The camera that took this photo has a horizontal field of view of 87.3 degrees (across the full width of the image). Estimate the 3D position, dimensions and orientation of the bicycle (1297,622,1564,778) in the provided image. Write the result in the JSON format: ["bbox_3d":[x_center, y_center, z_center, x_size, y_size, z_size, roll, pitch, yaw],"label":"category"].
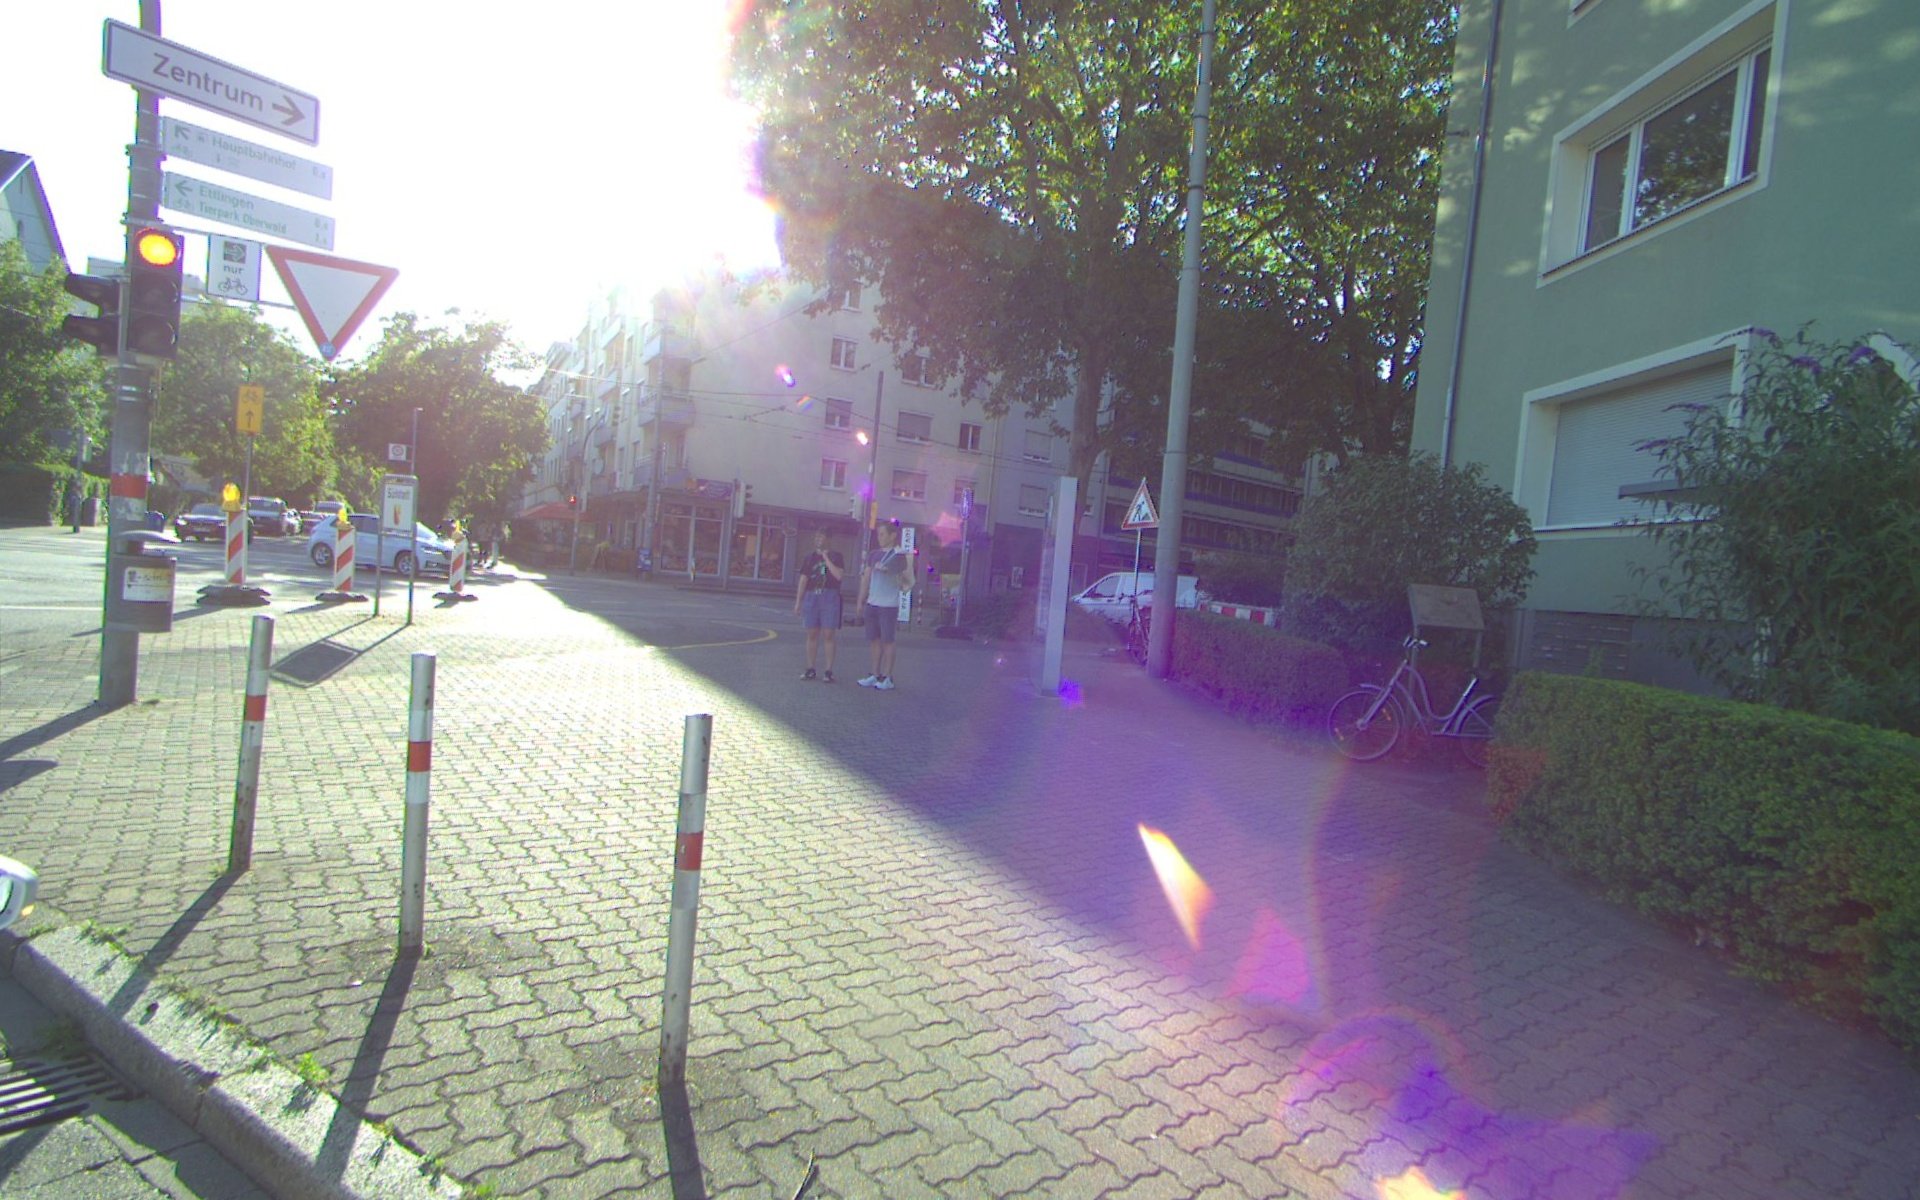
[{"bbox_3d":[3.954,0.828,8.551,1.897,1.071,0.521,6,2,5],"label":"bicycle"}]

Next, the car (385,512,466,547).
[{"bbox_3d":[-39.353,-5.159,74.119,5.050,1.948,2.344,5,0,-32],"label":"car"}]

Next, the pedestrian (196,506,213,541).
[{"bbox_3d":[-39.148,-3.954,52.115,0.575,1.754,0.602,4,3,-34],"label":"pedestrian"}]

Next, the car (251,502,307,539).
[{"bbox_3d":[-40.163,-4.686,59.460,2.336,1.818,5.265,4,2,-31],"label":"car"}]

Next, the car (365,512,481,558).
[{"bbox_3d":[-30.229,-3.587,56.677,5.576,1.948,2.343,5,0,-32],"label":"car"}]

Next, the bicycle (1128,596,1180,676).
[{"bbox_3d":[2.865,0.500,15.005,0.511,1.071,1.933,6,2,7],"label":"bicycle"}]

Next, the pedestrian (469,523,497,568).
[{"bbox_3d":[-19.443,-2.213,40.993,0.706,1.774,0.793,5,2,-7],"label":"pedestrian"}]

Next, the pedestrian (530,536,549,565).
[{"bbox_3d":[-21.461,-2.529,51.361,0.803,1.381,0.908,4,2,-23],"label":"pedestrian"}]

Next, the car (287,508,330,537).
[{"bbox_3d":[-47.039,-5.587,72.770,2.336,1.818,5.265,4,2,-31],"label":"car"}]

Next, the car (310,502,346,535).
[{"bbox_3d":[-54.391,-6.990,86.635,2.336,2.548,5.265,4,2,-31],"label":"car"}]

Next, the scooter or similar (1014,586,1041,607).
[{"bbox_3d":[3.495,-0.191,52.158,1.421,0.966,0.462,4,3,-44],"label":"scooter or similar"}]

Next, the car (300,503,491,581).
[{"bbox_3d":[-14.175,-1.448,25.314,3.924,1.506,1.896,6,2,15],"label":"car"}]

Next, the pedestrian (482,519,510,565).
[{"bbox_3d":[-18.527,-2.299,40.155,0.681,1.774,0.793,5,2,-7],"label":"pedestrian"}]

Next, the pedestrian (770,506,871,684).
[{"bbox_3d":[-1.475,-0.052,10.726,0.680,1.774,0.794,6,2,13],"label":"pedestrian"}]

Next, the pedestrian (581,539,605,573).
[{"bbox_3d":[-17.871,-2.145,49.010,0.806,1.565,0.905,3,3,-35],"label":"pedestrian"}]

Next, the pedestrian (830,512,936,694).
[{"bbox_3d":[-0.792,0.031,10.524,0.680,1.774,0.794,6,2,21],"label":"pedestrian"}]

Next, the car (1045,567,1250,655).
[{"bbox_3d":[4.711,0.227,26.134,1.913,1.849,5.185,5,0,-37],"label":"car"}]

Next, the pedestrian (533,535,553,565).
[{"bbox_3d":[-20.822,-2.489,50.205,0.803,1.381,0.908,4,2,-24],"label":"pedestrian"}]

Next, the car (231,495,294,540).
[{"bbox_3d":[-37.331,-4.402,53.987,2.336,2.040,5.265,4,2,-31],"label":"car"}]

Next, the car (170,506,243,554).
[{"bbox_3d":[-28.075,-2.628,37.589,1.878,1.586,4.353,1,3,-33],"label":"car"}]
